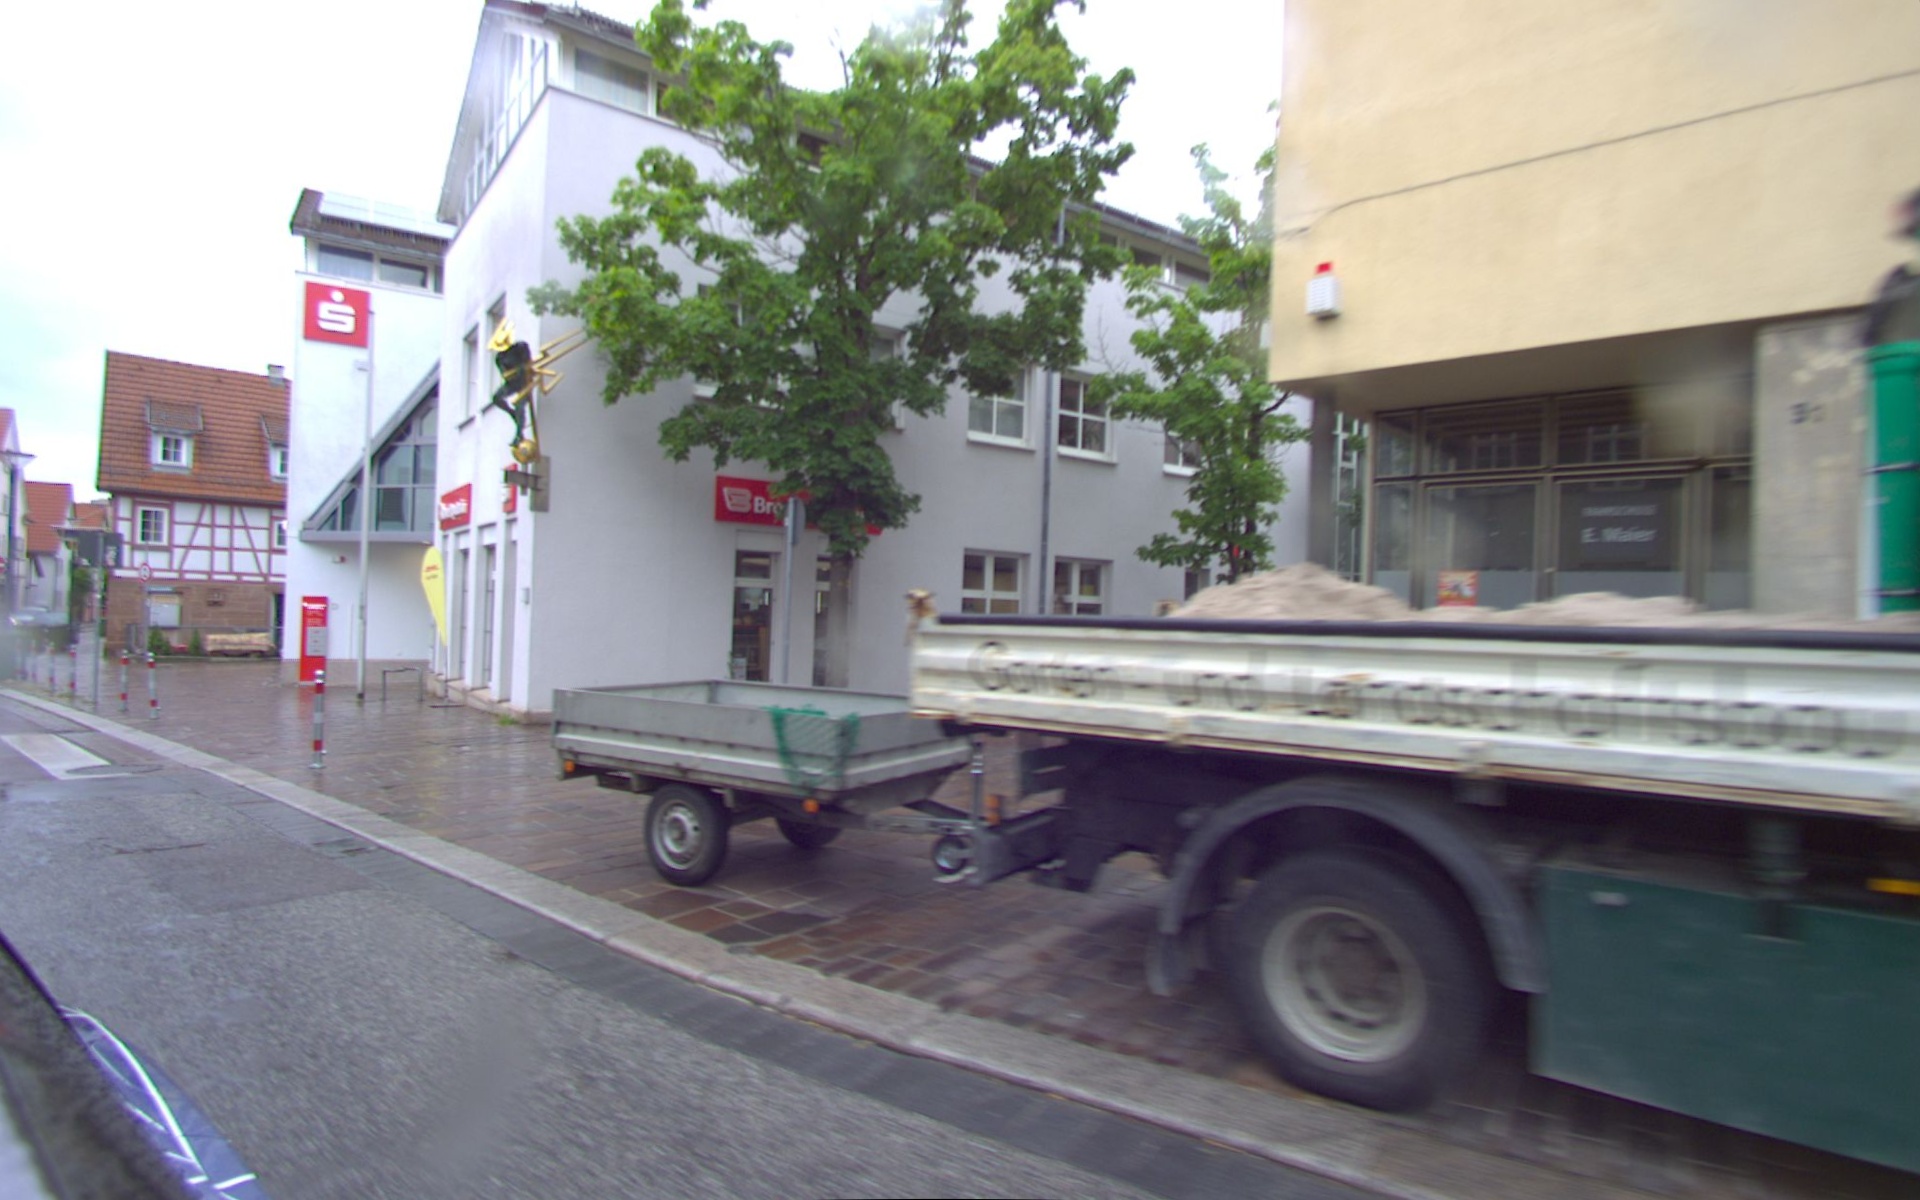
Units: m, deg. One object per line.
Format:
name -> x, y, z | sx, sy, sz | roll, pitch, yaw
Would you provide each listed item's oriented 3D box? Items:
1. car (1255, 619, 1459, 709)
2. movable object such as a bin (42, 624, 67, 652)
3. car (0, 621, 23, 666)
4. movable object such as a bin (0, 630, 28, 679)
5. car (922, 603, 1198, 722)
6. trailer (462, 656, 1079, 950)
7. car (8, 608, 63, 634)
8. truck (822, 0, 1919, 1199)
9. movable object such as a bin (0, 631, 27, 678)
car -> 8.072, 1.285, 20.437 | 4.211, 1.630, 1.824 | 3, -3, -36
movable object such as a bin -> -34.860, 1.467, 38.967 | 0.530, 1.030, 0.604 | 0, -3, 42
car -> -33.463, 1.464, 34.758 | 1.781, 1.453, 4.003 | 1, -1, -44
movable object such as a bin -> -21.630, 1.228, 22.944 | 0.645, 1.085, 0.688 | 0, 0, 42
car -> 1.621, 0.959, 15.815 | 4.053, 1.630, 1.861 | 3, -3, -36
trailer -> -1.103, 0.911, 5.673 | 3.013, 1.133, 1.836 | -3, -3, 35
car -> -56.457, 1.300, 61.871 | 1.838, 1.472, 4.011 | 3, -3, -34
truck -> 2.766, -0.035, 3.002 | 6.469, 2.615, 2.378 | -3, -3, 36
movable object such as a bin -> -22.195, 1.259, 23.482 | 0.645, 1.059, 0.688 | 0, -3, 42
